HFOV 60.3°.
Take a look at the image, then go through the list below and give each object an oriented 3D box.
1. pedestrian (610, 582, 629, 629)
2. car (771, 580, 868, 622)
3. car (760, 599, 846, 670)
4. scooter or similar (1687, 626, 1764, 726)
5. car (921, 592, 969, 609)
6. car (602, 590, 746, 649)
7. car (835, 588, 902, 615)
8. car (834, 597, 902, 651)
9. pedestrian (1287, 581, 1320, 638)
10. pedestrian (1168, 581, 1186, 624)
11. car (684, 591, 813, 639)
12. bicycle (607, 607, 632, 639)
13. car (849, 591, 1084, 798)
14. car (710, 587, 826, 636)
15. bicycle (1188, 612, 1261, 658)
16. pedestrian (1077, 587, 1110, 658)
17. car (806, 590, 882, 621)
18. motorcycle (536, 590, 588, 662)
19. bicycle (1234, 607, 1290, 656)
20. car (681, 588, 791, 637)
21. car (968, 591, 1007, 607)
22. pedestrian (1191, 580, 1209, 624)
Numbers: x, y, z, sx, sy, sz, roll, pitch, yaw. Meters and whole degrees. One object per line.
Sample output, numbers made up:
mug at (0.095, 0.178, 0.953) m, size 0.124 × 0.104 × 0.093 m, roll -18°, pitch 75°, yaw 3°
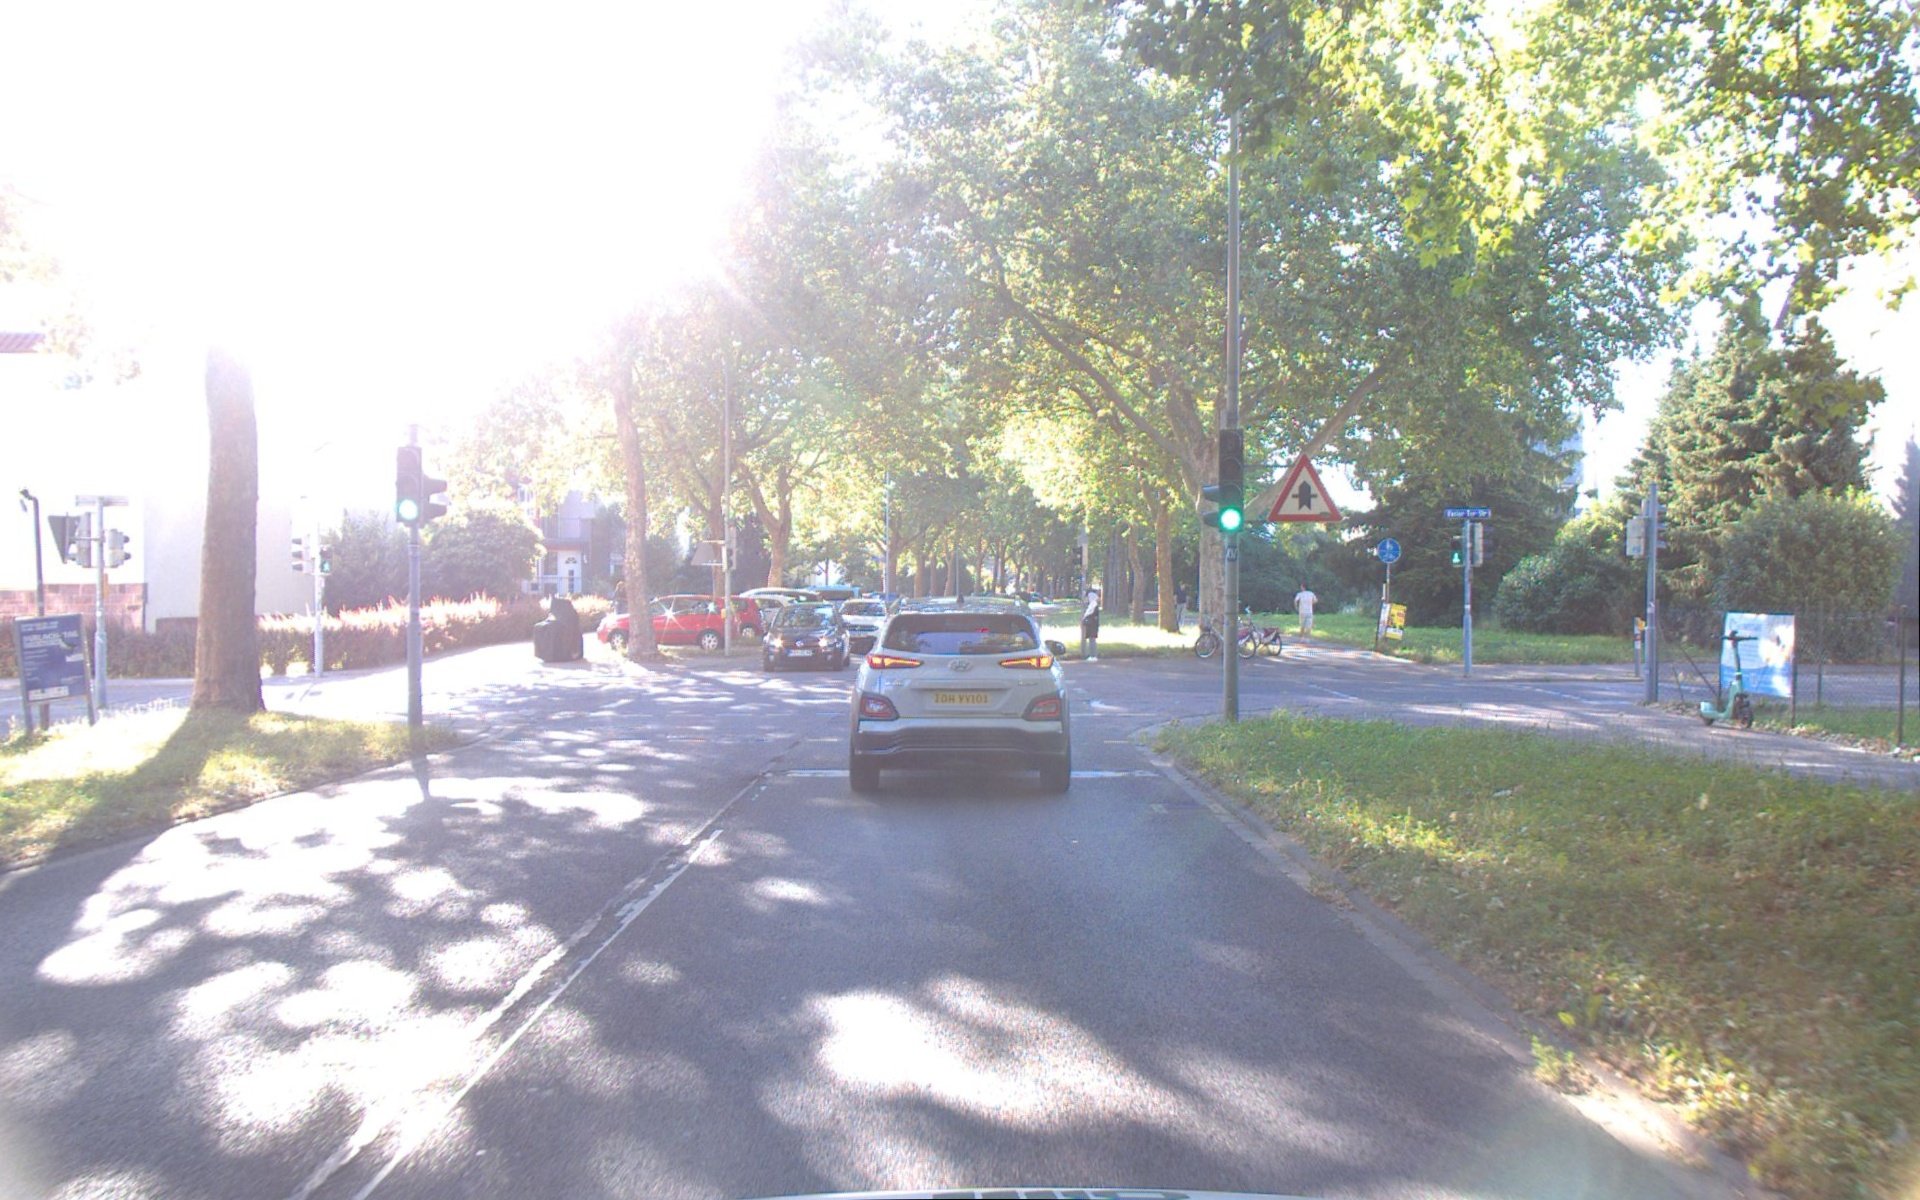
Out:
pedestrian at (-11.596, 0.188, 56.321) m, size 0.499 × 1.558 × 1.033 m, roll 0°, pitch -1°, yaw -4°
car at (-6.408, 0.041, 75.776) m, size 4.295 × 1.856 × 1.996 m, roll 0°, pitch 0°, yaw 0°
car at (-3.468, 0.740, 37.032) m, size 1.691 × 1.489 × 4.066 m, roll 0°, pitch 0°, yaw -2°
scooter or similar at (9.865, 0.964, 21.334) m, size 0.374 × 1.217 × 1.255 m, roll 1°, pitch 1°, yaw -1°
car at (-1.219, 0.060, 137.148) m, size 3.745 × 1.339 × 1.791 m, roll 1°, pitch 0°, yaw 5°
car at (-7.901, 0.534, 45.942) m, size 3.688 × 1.561 × 1.831 m, roll 1°, pitch 0°, yaw -1°
car at (-5.480, 0.082, 99.503) m, size 3.906 × 1.545 × 1.817 m, roll 1°, pitch 0°, yaw 0°
car at (-2.718, 0.686, 49.629) m, size 1.681 × 1.527 × 4.095 m, roll 0°, pitch 0°, yaw 2°
pedestrian at (10.256, 0.289, 49.381) m, size 0.763 × 1.678 × 0.939 m, roll -1°, pitch 0°, yaw 1°
pedestrian at (9.428, 0.102, 71.804) m, size 0.745 × 1.878 × 0.788 m, roll 0°, pitch 0°, yaw 5°
car at (-7.078, 0.484, 55.558) m, size 4.076 × 1.527 × 1.875 m, roll 1°, pitch 0°, yaw -1°
bicycle at (-11.589, 0.776, 56.359) m, size 0.499 × 1.060 × 2.151 m, roll -1°, pitch -1°, yaw -3°
car at (0.021, 0.733, 14.678) m, size 1.798 × 1.583 × 3.999 m, roll 0°, pitch 0°, yaw -1°
car at (-7.005, 0.415, 60.700) m, size 4.007 × 1.746 × 1.832 m, roll 0°, pitch 0°, yaw 1°
bicycle at (6.365, 0.836, 39.845) m, size 1.686 × 1.053 × 0.445 m, roll 0°, pitch 3°, yaw 37°
pedestrian at (3.345, 0.550, 41.415) m, size 0.622 × 1.749 × 0.825 m, roll -2°, pitch 0°, yaw -7°
car at (-5.986, 0.271, 85.915) m, size 3.792 × 1.545 × 1.665 m, roll -1°, pitch 0°, yaw 0°
motorcycle at (-9.888, 0.613, 41.185) m, size 0.961 × 1.666 × 2.387 m, roll 0°, pitch 2°, yaw -6°
bicycle at (7.418, 0.753, 40.725) m, size 0.438 × 1.101 × 1.997 m, roll -2°, pitch 2°, yaw -19°
car at (-7.217, 0.392, 53.501) m, size 3.271 × 1.506 × 1.695 m, roll 1°, pitch 0°, yaw 0°
car at (2.924, -0.124, 175.148) m, size 4.095 × 1.612 × 2.001 m, roll 1°, pitch 0°, yaw 3°
pedestrian at (10.392, 0.073, 71.723) m, size 0.738 × 1.880 × 0.803 m, roll 0°, pitch 0°, yaw 5°
